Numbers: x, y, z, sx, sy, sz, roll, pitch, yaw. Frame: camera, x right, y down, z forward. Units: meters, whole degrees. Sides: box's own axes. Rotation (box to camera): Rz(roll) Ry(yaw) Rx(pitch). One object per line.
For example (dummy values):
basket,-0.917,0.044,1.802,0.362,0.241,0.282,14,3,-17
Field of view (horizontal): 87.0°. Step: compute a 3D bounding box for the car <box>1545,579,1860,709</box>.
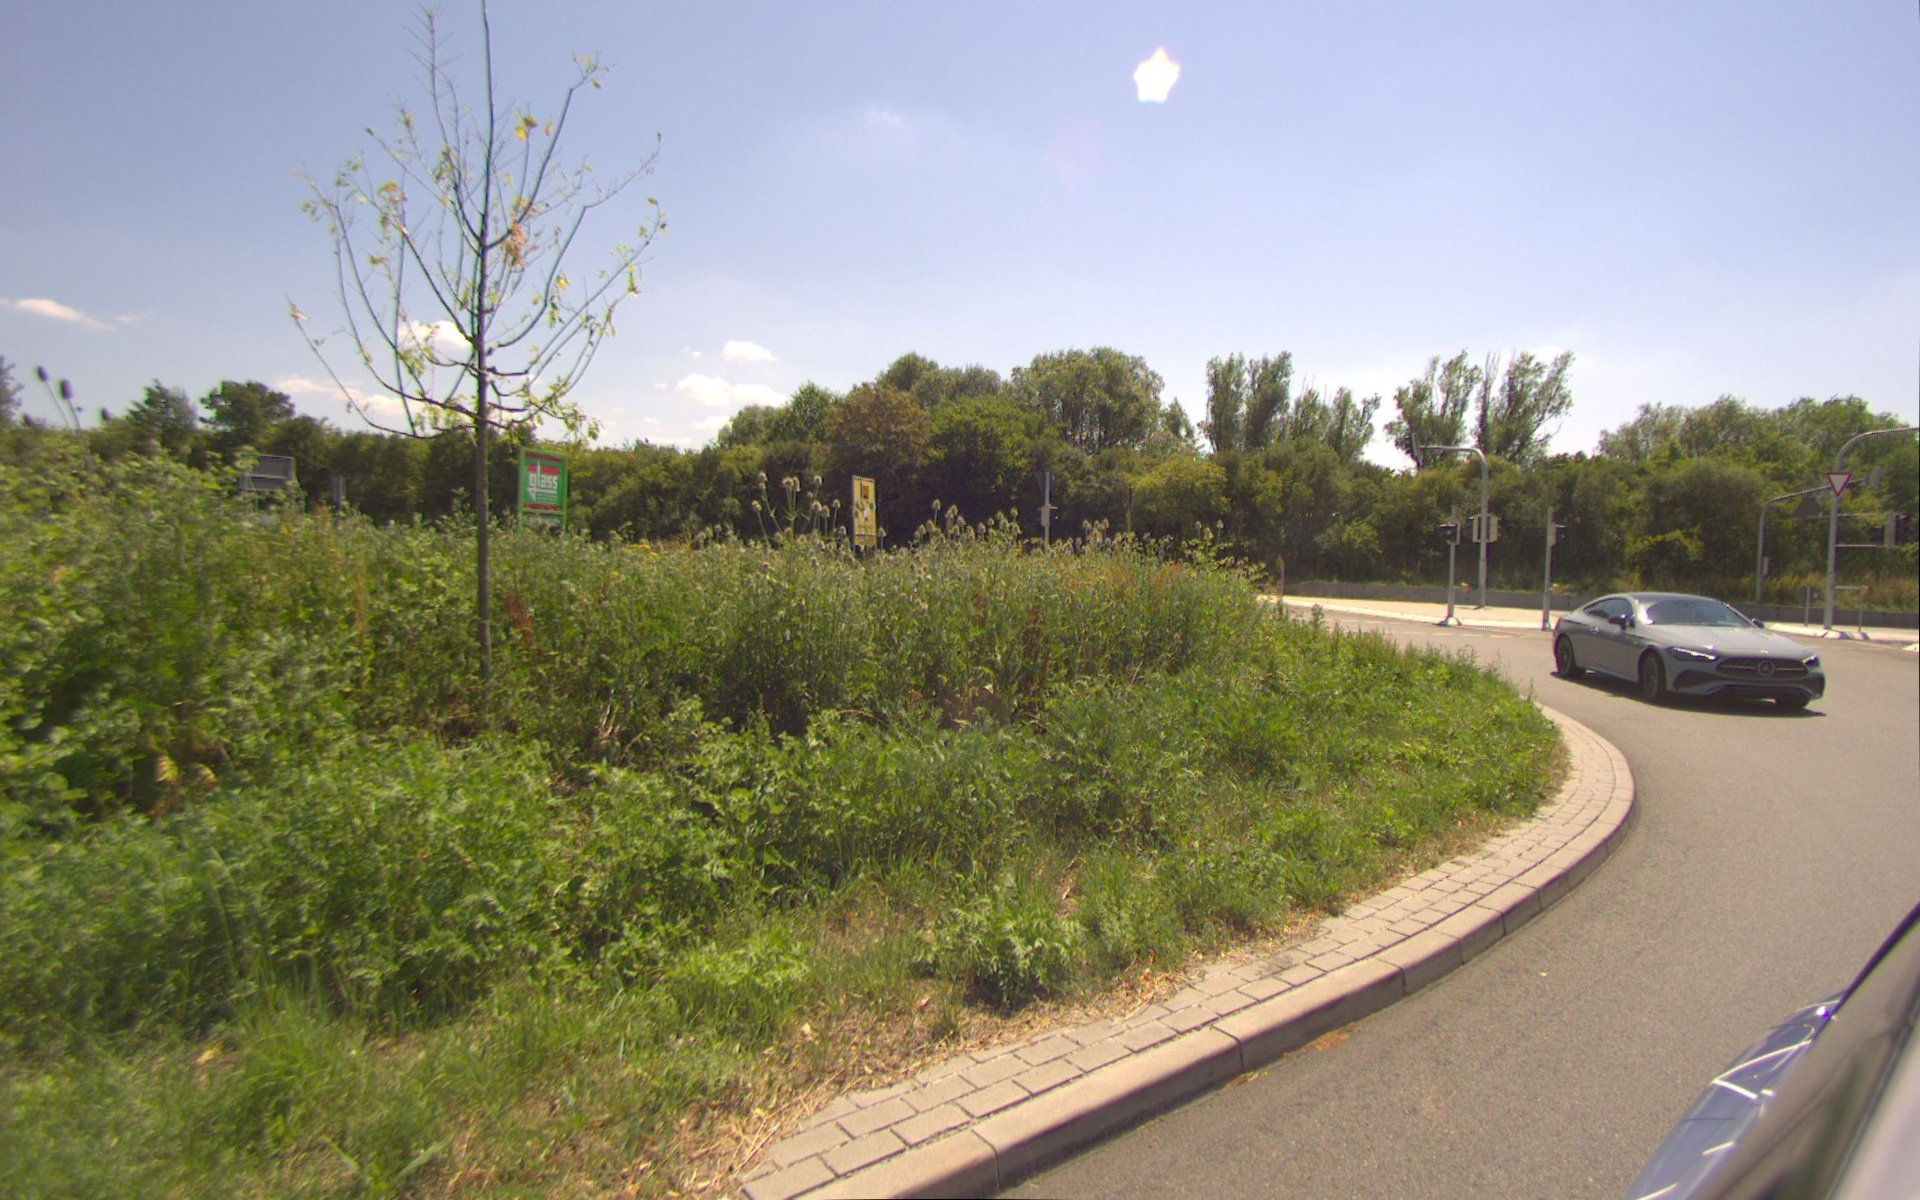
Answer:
car,10.482,0.500,14.798,1.892,1.459,4.471,0,3,10
